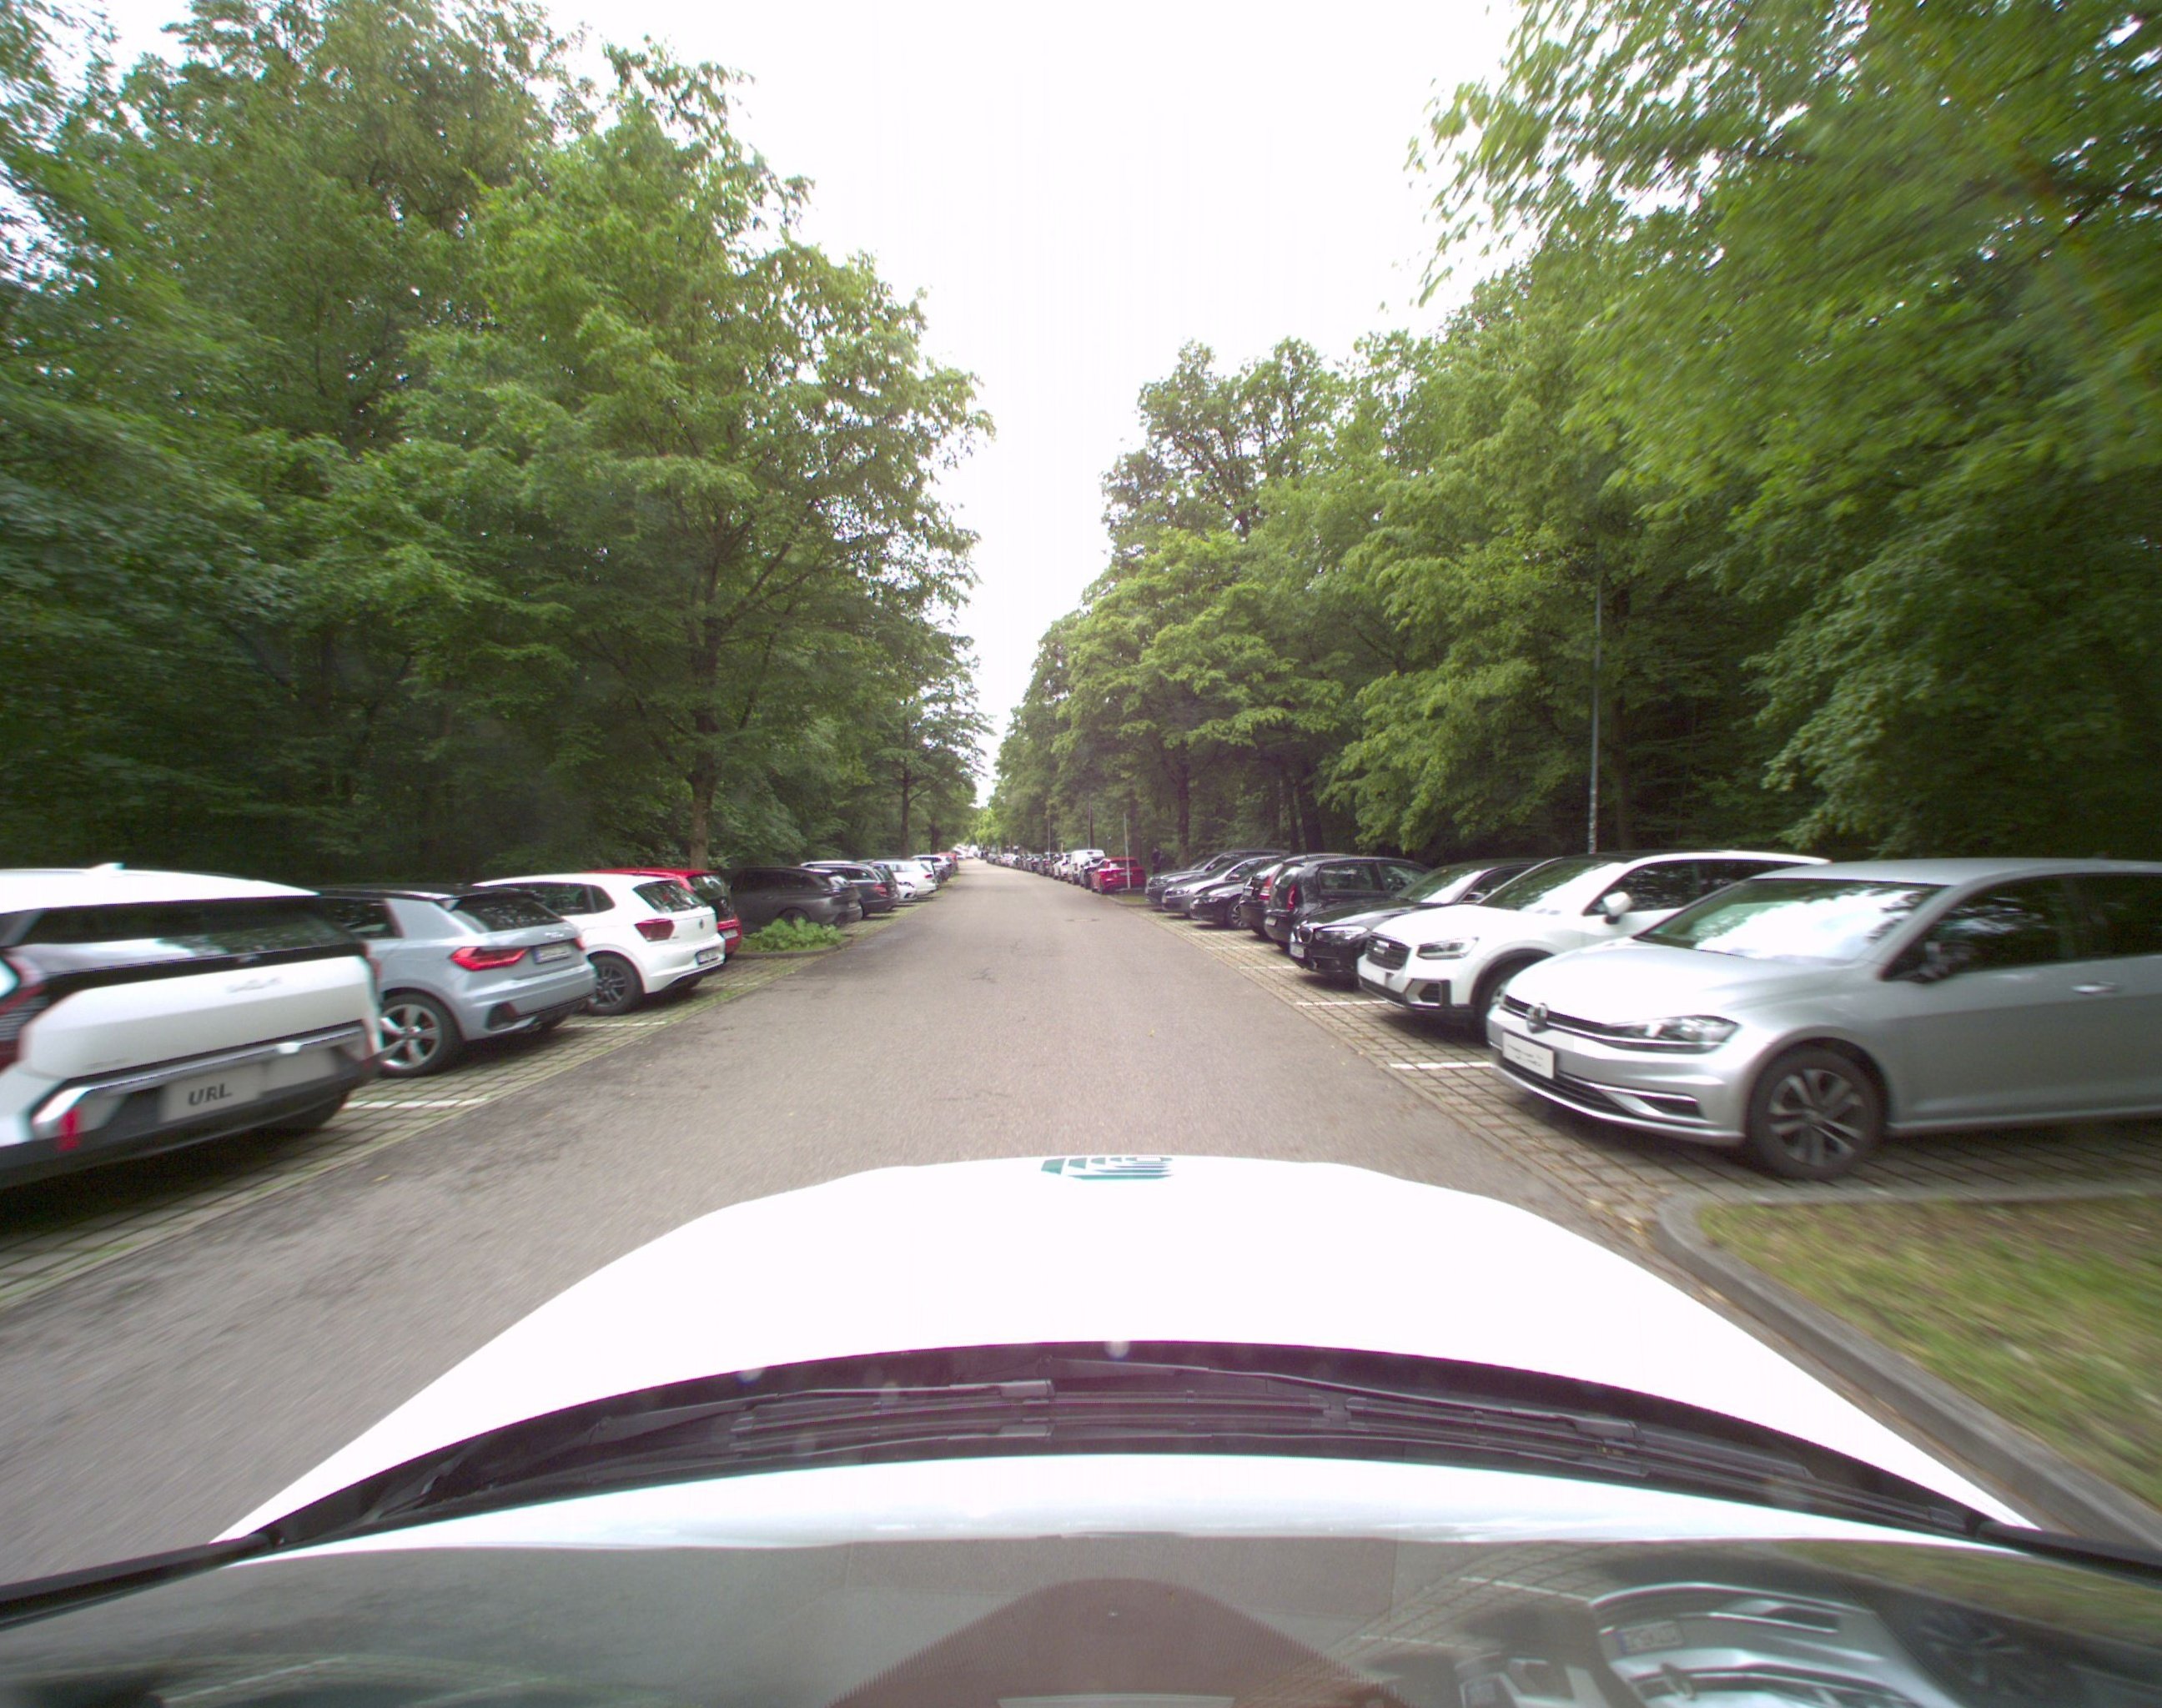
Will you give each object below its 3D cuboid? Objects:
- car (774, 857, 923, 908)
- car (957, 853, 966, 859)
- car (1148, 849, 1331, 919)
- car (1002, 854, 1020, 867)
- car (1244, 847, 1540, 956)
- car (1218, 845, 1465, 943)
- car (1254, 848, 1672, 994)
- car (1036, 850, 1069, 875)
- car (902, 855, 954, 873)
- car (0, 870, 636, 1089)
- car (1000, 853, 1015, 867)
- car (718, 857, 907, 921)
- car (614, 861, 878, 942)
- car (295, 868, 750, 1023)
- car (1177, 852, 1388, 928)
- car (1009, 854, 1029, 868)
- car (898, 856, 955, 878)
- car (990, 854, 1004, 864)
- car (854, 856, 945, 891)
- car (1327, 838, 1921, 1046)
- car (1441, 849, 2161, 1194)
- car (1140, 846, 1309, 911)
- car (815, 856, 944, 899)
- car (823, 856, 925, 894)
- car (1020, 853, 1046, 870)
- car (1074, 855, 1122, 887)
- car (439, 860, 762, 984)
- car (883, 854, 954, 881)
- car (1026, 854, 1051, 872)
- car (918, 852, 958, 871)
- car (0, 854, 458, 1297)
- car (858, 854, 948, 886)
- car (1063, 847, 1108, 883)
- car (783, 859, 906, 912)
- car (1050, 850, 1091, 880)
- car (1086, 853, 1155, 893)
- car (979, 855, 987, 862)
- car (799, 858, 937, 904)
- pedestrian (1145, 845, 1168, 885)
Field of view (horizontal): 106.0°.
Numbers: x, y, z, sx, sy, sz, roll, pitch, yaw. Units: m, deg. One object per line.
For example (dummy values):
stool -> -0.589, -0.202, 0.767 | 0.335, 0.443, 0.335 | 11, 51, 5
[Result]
car -> -7.400, 0.895, 26.313 | 4.364, 1.486, 1.886 | -1, -1, -9
car -> -25.832, 0.390, 176.165 | 1.738, 1.162, 3.403 | 0, 3, -7
car -> 3.811, 0.684, 19.995 | 3.987, 1.551, 1.969 | -1, 0, -10
car -> -8.676, 0.816, 100.581 | 1.724, 1.494, 3.756 | -1, 0, -14
car -> 4.606, 0.671, 12.437 | 3.817, 1.457, 1.807 | -1, 0, -3
car -> 4.582, 0.670, 14.676 | 3.819, 1.531, 1.848 | -2, 0, -4
car -> 4.384, 0.704, 9.773 | 4.179, 1.511, 1.890 | -1, 1, -4
car -> -2.179, 0.601, 61.083 | 1.889, 1.747, 4.933 | -1, 0, -9
car -> -14.173, 0.901, 75.658 | 4.732, 1.595, 1.953 | -1, 0, -10
car -> -6.178, 0.909, 6.834 | 3.796, 1.421, 1.894 | -1, 0, -5
car -> -9.599, 0.729, 105.927 | 1.710, 1.728, 3.988 | -1, 0, -9
car -> -6.875, 0.865, 21.244 | 4.256, 1.486, 2.056 | -1, 0, -3
car -> -6.504, 0.890, 16.244 | 4.394, 1.424, 2.033 | -1, 0, -3
car -> -5.968, 0.927, 9.102 | 3.716, 1.419, 1.871 | -1, 0, -1
car -> 4.186, 0.713, 17.377 | 3.978, 1.475, 1.950 | -1, 0, -3
car -> -7.241, 0.806, 94.890 | 1.937, 1.475, 3.978 | -1, 0, -10
car -> -11.566, 0.958, 61.041 | 4.091, 1.523, 1.922 | -1, 0, -12
car -> -12.914, 0.793, 125.270 | 1.920, 1.520, 3.876 | -1, 0, -8
car -> -8.535, 0.884, 38.572 | 4.032, 1.555, 1.914 | -1, 0, -9
car -> 4.472, 0.664, 7.243 | 3.995, 1.559, 1.978 | -1, 1, 0
car -> 4.467, 0.739, 4.704 | 3.968, 1.483, 1.881 | -1, 1, -4
car -> 3.864, 0.627, 22.408 | 4.258, 1.666, 1.955 | -1, 0, -5
car -> -7.676, 0.886, 31.357 | 4.557, 1.486, 1.865 | -1, 0, -7
car -> -9.048, 0.893, 35.887 | 4.238, 1.550, 1.840 | -1, 0, -12
car -> -4.569, 0.695, 77.333 | 1.978, 1.537, 4.606 | -1, 0, -9
car -> 0.746, 0.756, 38.207 | 1.723, 1.422, 4.274 | -1, 0, -6
car -> -6.556, 0.884, 11.415 | 3.456, 1.481, 1.682 | -2, 0, -2
car -> -10.096, 0.820, 50.901 | 4.221, 1.633, 2.024 | 0, 0, -8
car -> -3.781, 0.747, 71.550 | 1.637, 1.477, 4.136 | -1, 0, -11
car -> -14.614, 0.762, 83.114 | 3.990, 1.816, 2.106 | -1, 0, -12
car -> -5.851, 0.865, 4.141 | 3.939, 1.628, 2.002 | -1, 0, 7
car -> -9.451, 0.819, 43.492 | 4.512, 1.584, 1.922 | -1, 0, -8
car -> 0.177, 0.550, 43.491 | 1.744, 1.780, 4.538 | -1, 0, -9
car -> -6.880, 0.886, 23.951 | 3.216, 1.444, 1.676 | -1, 0, -7
car -> -0.715, 0.634, 49.620 | 1.785, 1.662, 4.702 | -1, 0, -10
car -> 1.483, 0.698, 32.633 | 1.991, 1.479, 4.961 | -1, 0, -6
car -> -21.582, 0.975, 179.381 | 1.628, 1.415, 3.400 | 0, 3, -10
car -> -7.478, 0.930, 29.023 | 4.563, 1.447, 2.078 | -1, 0, -10
pedestrian -> 3.267, 0.463, 35.196 | 0.816, 1.726, 1.001 | 0, 0, -7
